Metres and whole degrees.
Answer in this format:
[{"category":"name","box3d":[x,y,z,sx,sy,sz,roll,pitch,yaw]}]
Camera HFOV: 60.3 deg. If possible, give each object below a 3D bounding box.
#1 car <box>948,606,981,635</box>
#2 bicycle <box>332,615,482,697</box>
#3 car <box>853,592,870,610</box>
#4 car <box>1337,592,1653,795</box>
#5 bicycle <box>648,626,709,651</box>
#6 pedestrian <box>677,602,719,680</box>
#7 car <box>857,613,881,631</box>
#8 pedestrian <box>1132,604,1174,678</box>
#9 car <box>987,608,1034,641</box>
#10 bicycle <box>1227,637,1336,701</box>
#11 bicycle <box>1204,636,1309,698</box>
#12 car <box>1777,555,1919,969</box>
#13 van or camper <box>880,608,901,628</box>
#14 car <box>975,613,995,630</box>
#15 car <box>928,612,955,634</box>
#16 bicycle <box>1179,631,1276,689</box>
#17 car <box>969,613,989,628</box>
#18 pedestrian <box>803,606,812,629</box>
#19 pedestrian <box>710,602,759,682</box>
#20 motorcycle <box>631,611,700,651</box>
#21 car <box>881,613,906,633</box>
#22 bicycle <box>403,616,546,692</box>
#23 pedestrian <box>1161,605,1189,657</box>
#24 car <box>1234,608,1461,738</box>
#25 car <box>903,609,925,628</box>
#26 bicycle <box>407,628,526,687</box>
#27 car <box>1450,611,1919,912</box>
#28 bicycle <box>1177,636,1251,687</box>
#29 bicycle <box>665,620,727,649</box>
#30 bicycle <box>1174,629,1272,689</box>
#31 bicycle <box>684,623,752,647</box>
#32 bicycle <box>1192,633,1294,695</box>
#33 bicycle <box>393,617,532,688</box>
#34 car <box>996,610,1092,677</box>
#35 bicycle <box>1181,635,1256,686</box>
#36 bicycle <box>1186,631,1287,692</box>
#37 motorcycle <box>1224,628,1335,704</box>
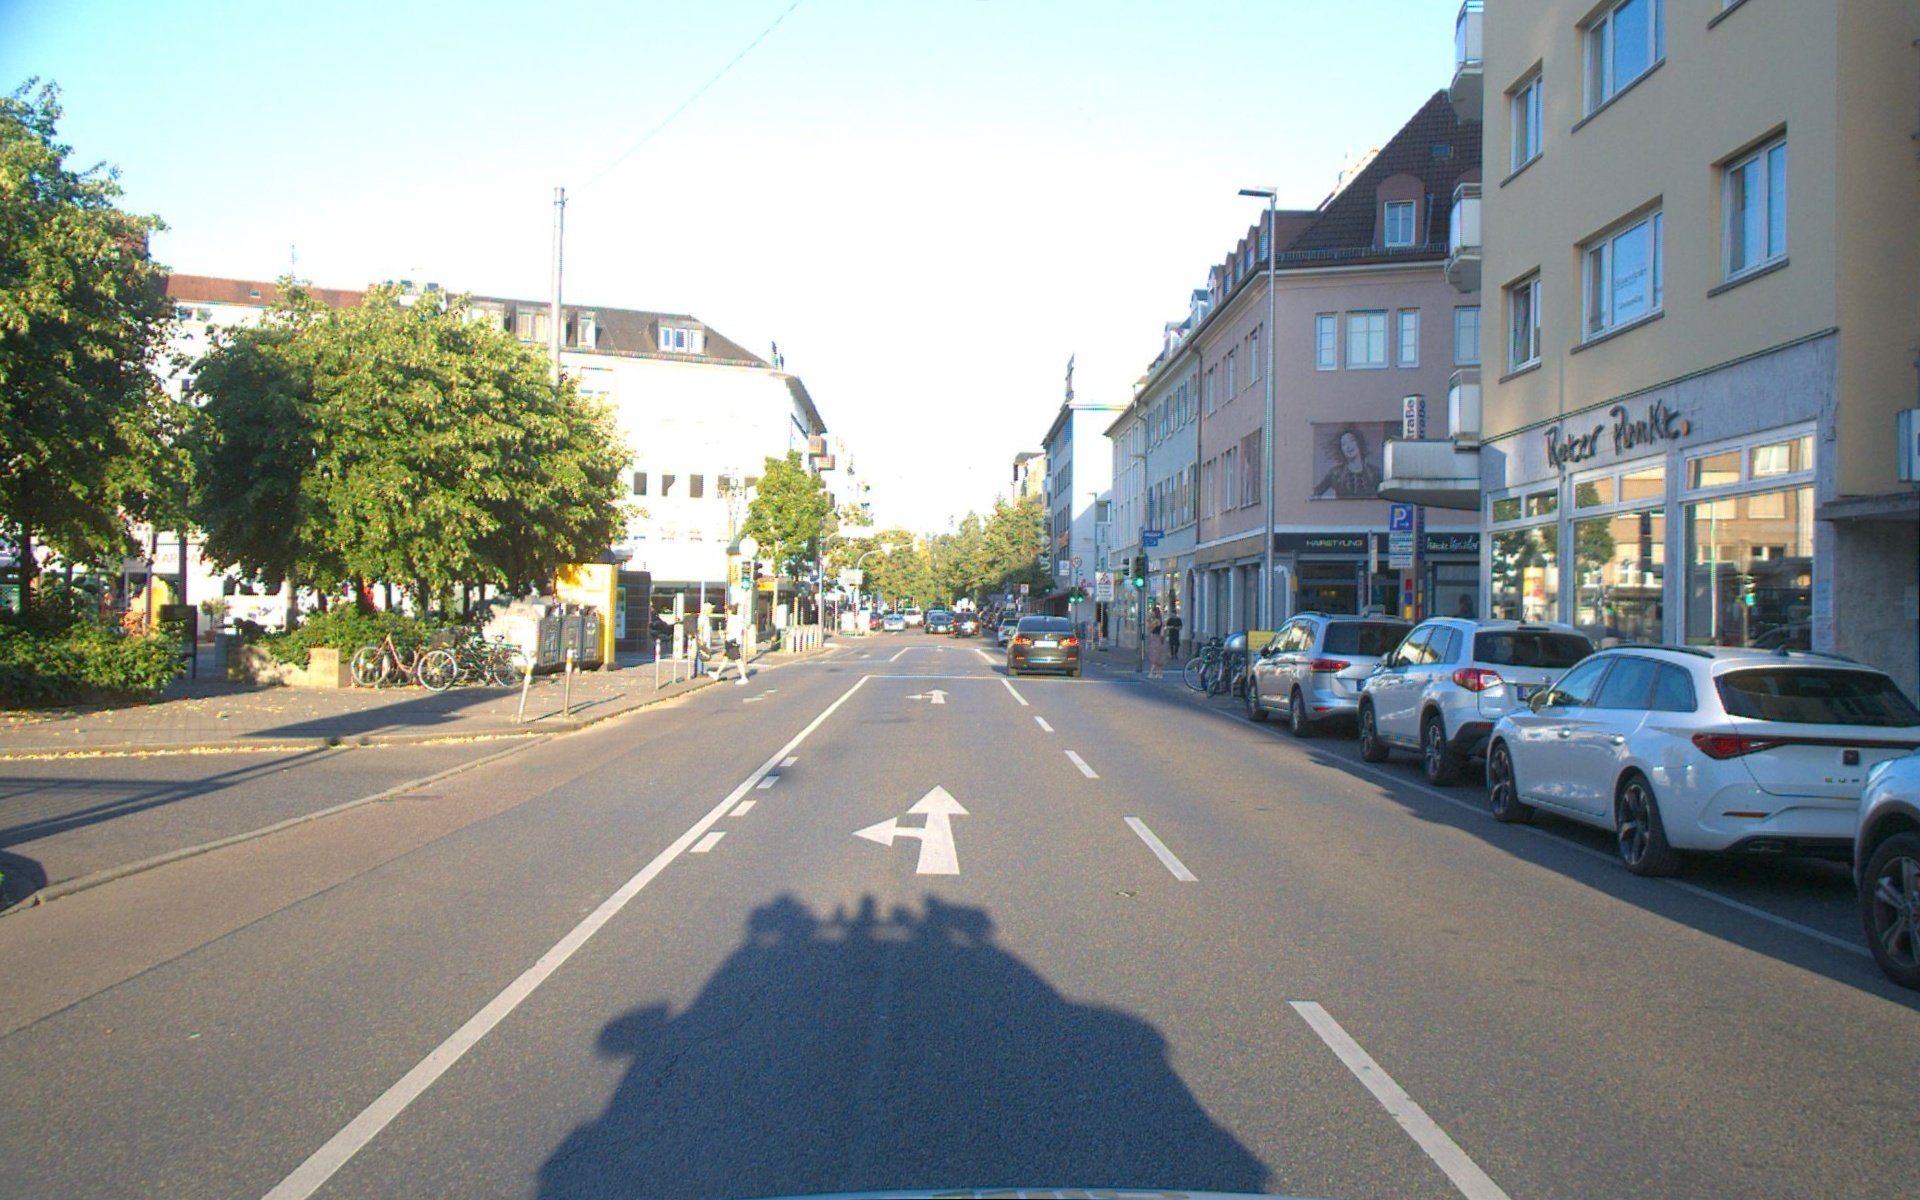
[{"category":"car","box3d":[0.253,1.262,102.906,1.953,1.780,3.999,1,0,0]},{"category":"bicycle","box3d":[-9.525,0.946,28.475,2.451,1.306,0.816,1,-1,20]},{"category":"car","box3d":[-11.671,0.090,196.198,1.790,2.049,3.676,1,0,1]},{"category":"car","box3d":[5.428,0.851,17.439,1.830,1.793,4.407,1,1,-1]},{"category":"bicycle","box3d":[-11.027,1.497,64.859,2.281,0.935,0.700,1,-1,-3]},{"category":"pedestrian","box3d":[-6.006,0.941,37.898,0.866,1.751,0.713,1,-1,-12]},{"category":"car","box3d":[-8.231,1.961,149.180,1.855,1.624,4.000,1,0,1]},{"category":"pedestrian","box3d":[4.612,0.968,39.543,0.779,1.751,0.810,1,-1,-8]},{"category":"car","box3d":[2.616,1.285,86.961,2.286,1.632,3.893,1,0,0]},{"category":"bicycle","box3d":[5.800,1.239,29.864,1.847,1.132,0.593,0,0,-4]},{"category":"bicycle","box3d":[5.548,1.254,30.978,1.847,1.132,0.593,1,-2,-4]},{"category":"car","box3d":[5.062,0.724,5.989,1.844,1.775,4.659,1,1,-1]},{"category":"van or camper","box3d":[-8.745,2.220,207.069,2.424,2.447,3.996,1,0,-4]},{"category":"car","box3d":[2.573,2.180,168.156,1.745,1.624,3.632,1,0,-4]},{"category":"car","box3d":[-1.319,1.679,121.839,1.846,1.512,4.000,1,0,1]},{"category":"bicycle","box3d":[5.505,1.236,34.113,1.847,1.132,0.761,1,-1,-4]},{"category":"car","box3d":[2.059,2.243,181.158,1.856,1.624,3.997,1,0,-4]},{"category":"pedestrian","box3d":[-11.782,1.371,127.987,0.590,1.751,0.575,1,-1,-15]},{"category":"pedestrian","box3d":[-4.989,0.919,36.551,0.858,1.751,0.753,1,-1,-26]},{"category":"motorcycle","box3d":[-10.992,1.143,61.710,2.364,1.451,1.112,1,-1,-2]},{"category":"car","box3d":[-5.491,1.896,136.708,1.855,1.624,4.000,1,0,1]},{"category":"bicycle","box3d":[-8.787,0.977,29.996,2.382,1.259,0.517,2,-1,-3]},{"category":"pedestrian","box3d":[7.628,1.102,58.733,0.742,1.808,1.047,1,-1,-5]},{"category":"car","box3d":[5.370,0.954,23.597,1.953,1.641,4.801,1,-1,-2]},{"category":"car","box3d":[-4.563,1.810,164.268,1.952,1.780,4.000,1,0,1]},{"category":"bicycle","box3d":[-9.312,1.078,31.256,2.002,0.988,0.635,3,-1,-3]},{"category":"car","box3d":[5.210,0.935,11.778,1.974,1.570,4.869,1,1,0]},{"category":"bicycle","box3d":[5.402,1.303,35.202,1.470,1.033,0.512,1,-1,-3]},{"category":"bicycle","box3d":[-11.101,1.451,69.648,2.473,1.166,0.700,1,-1,-3]},{"category":"bicycle","box3d":[5.292,1.182,33.302,1.847,1.188,0.722,0,-1,-4]},{"category":"bicycle","box3d":[-10.807,1.552,74.005,2.881,1.040,0.843,1,-1,2]},{"category":"bicycle","box3d":[5.432,1.224,31.810,1.847,1.132,0.521,1,-1,-4]},{"category":"bicycle","box3d":[-9.213,0.975,30.672,2.382,1.259,0.462,1,-1,-3]},{"category":"car","box3d":[1.988,1.029,40.431,1.851,1.518,4.201,1,-1,-4]},{"category":"bicycle","box3d":[5.413,1.259,34.714,1.471,1.044,0.512,0,-1,-5]},{"category":"bicycle","box3d":[5.405,1.198,32.350,1.846,1.132,0.601,1,-1,-4]},{"category":"motorcycle","box3d":[5.584,1.140,28.968,1.776,1.285,0.715,0,-1,-3]}]
